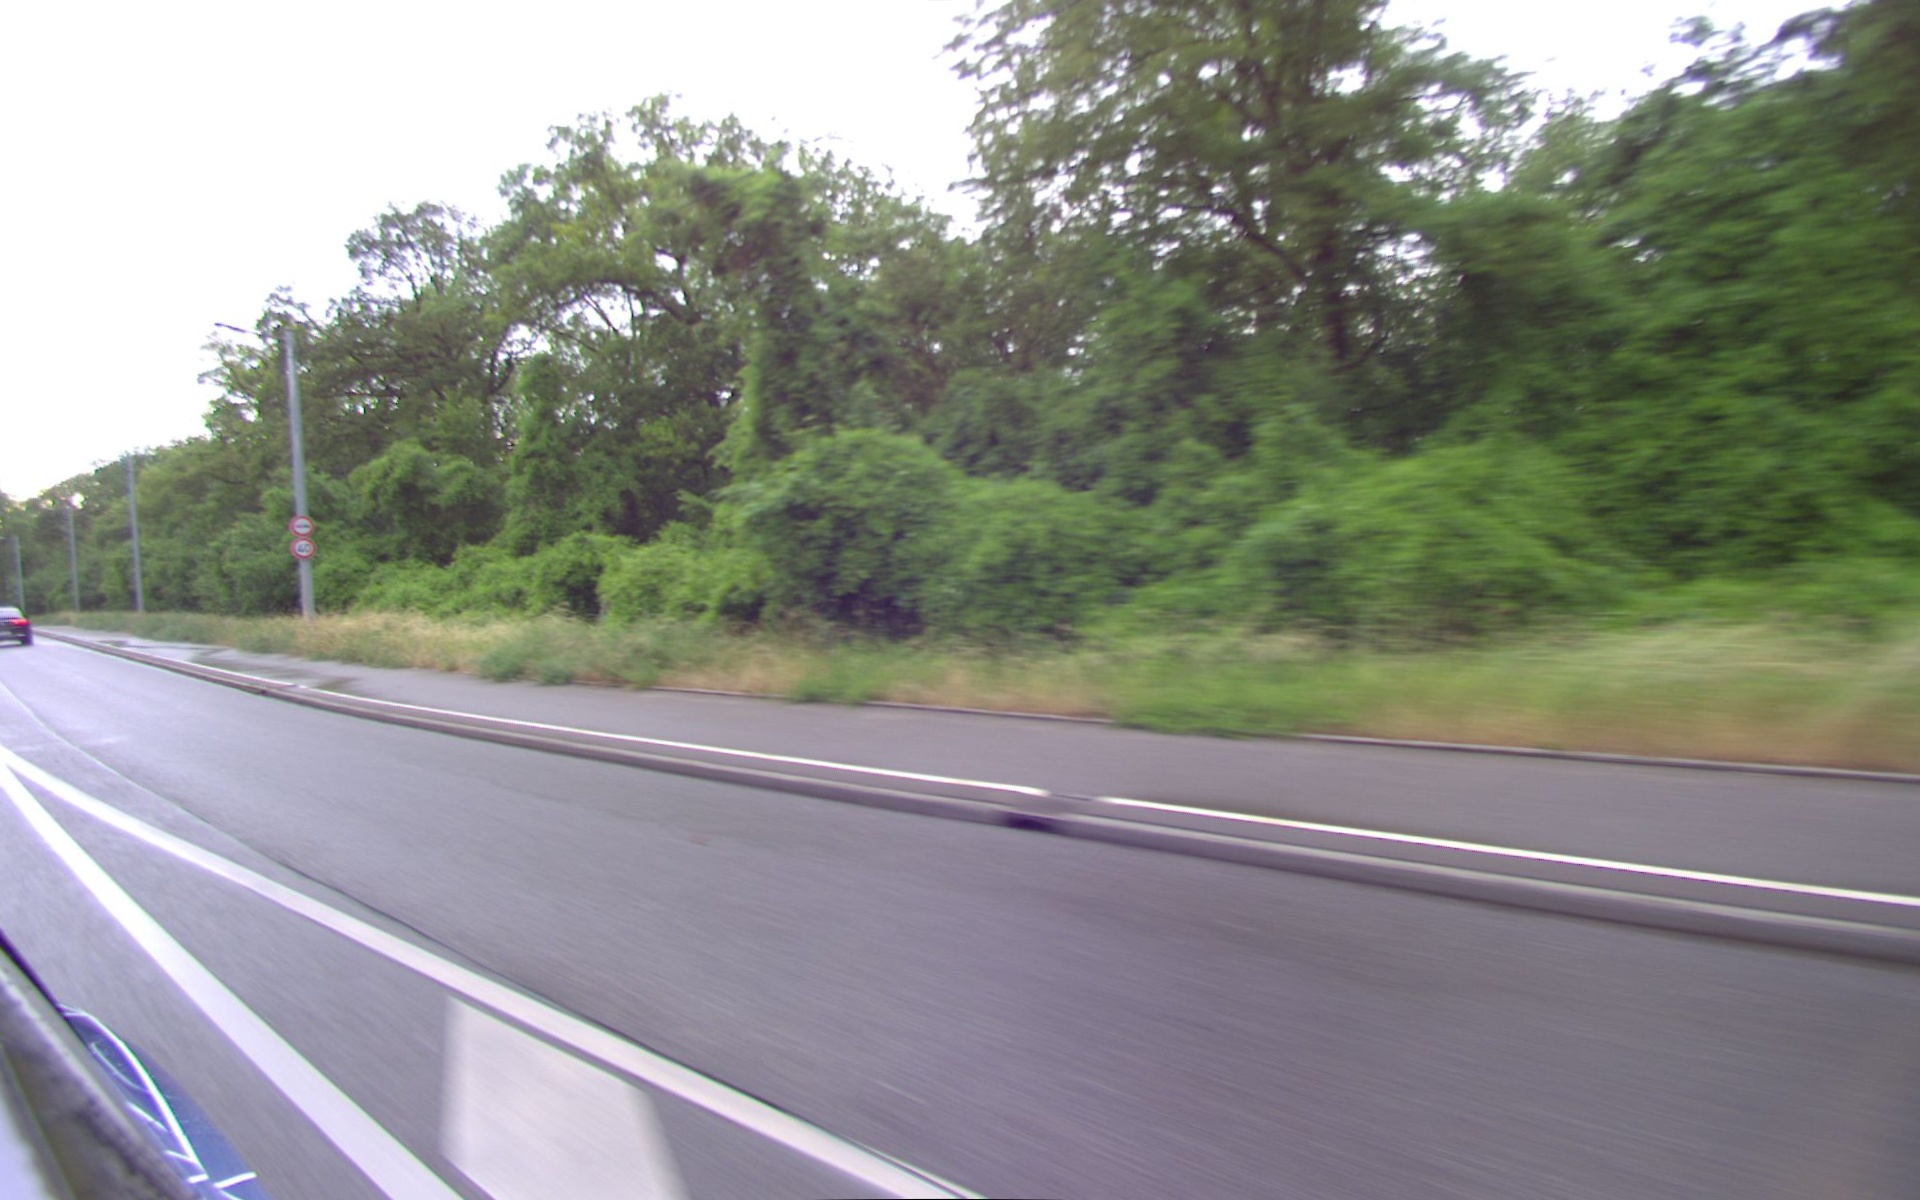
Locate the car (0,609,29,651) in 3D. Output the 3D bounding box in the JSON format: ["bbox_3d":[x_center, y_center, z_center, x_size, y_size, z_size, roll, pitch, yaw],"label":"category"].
[{"bbox_3d":[-43.959,1.363,46.244,1.969,1.800,4.713,-1,0,-42],"label":"car"}]
